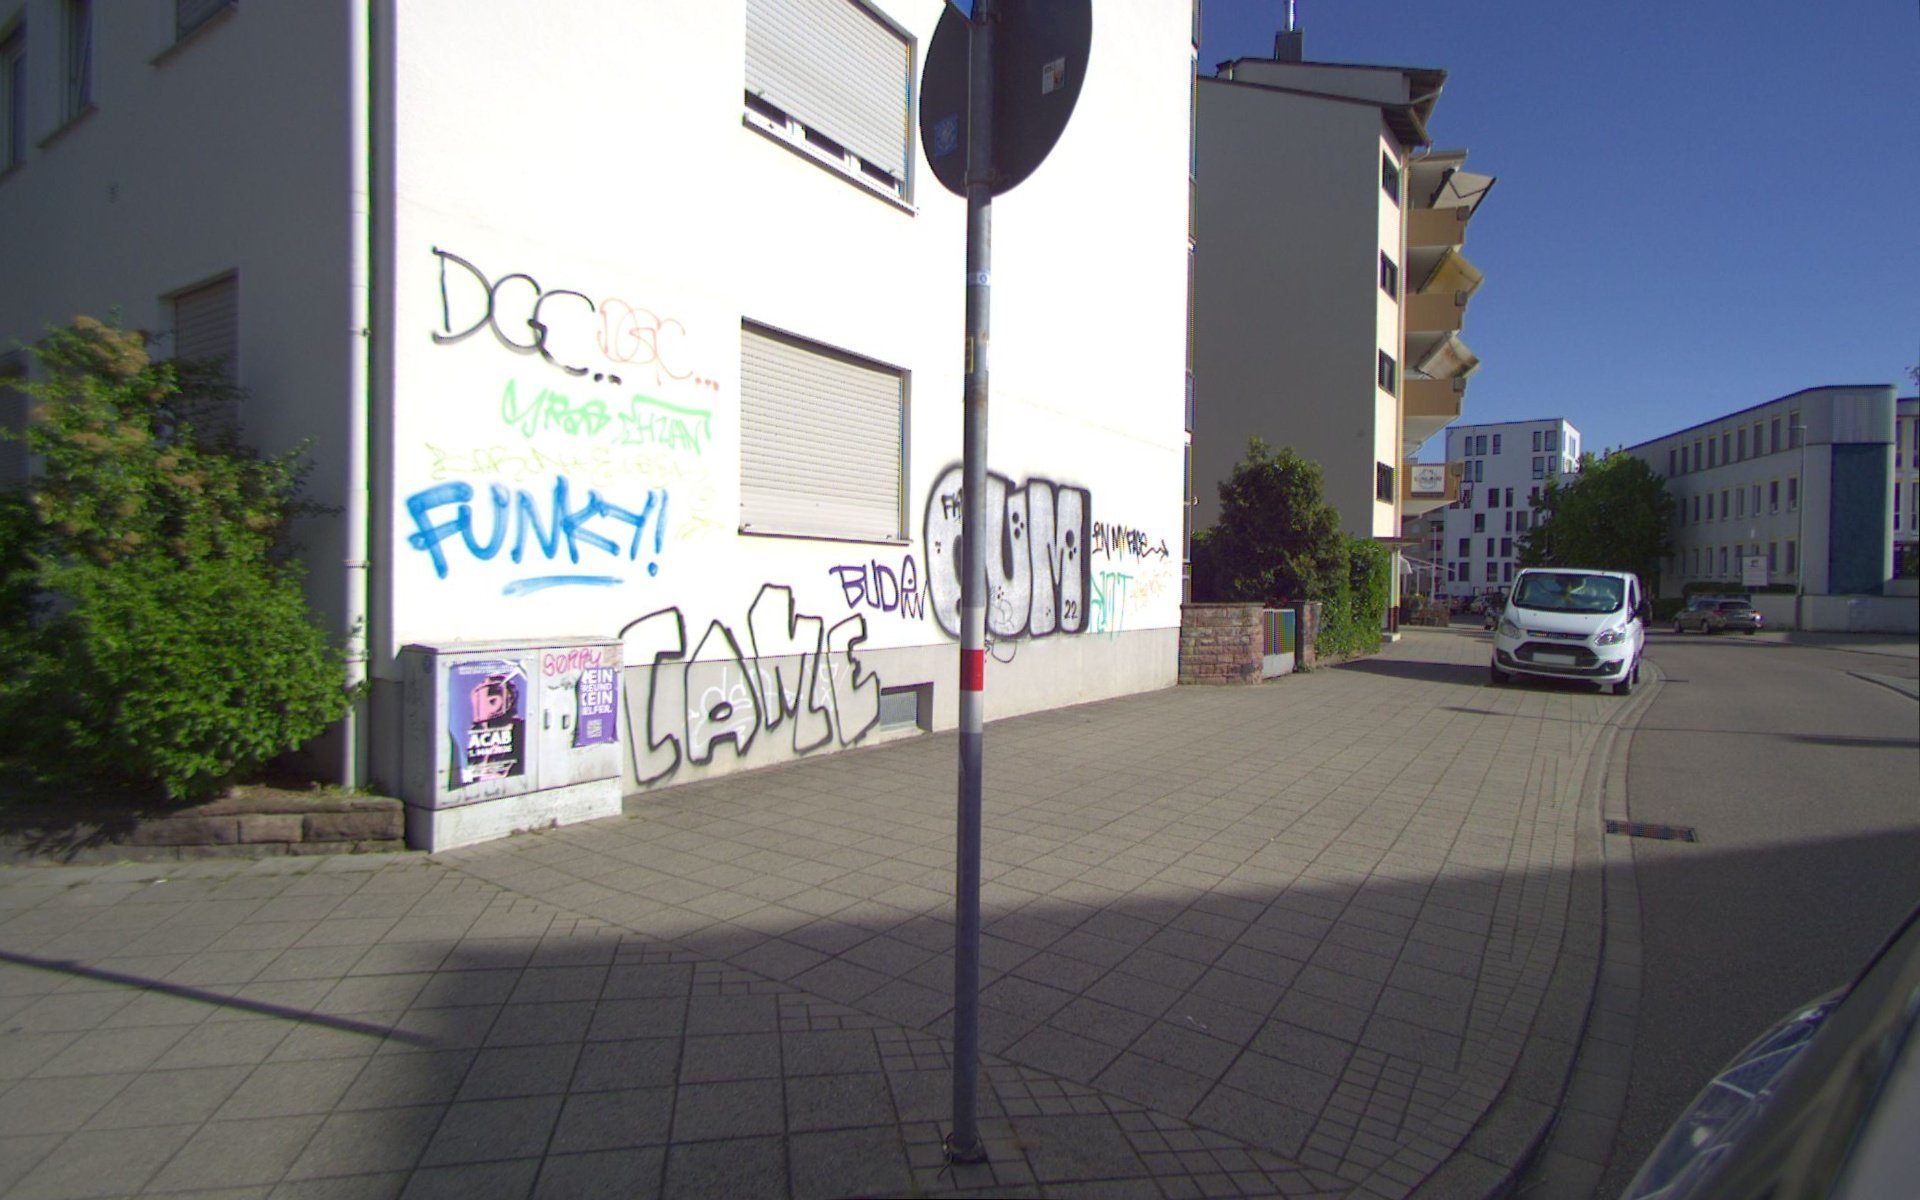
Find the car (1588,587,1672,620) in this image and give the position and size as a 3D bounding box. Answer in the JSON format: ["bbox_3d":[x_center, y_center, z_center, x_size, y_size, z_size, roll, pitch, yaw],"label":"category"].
[{"bbox_3d":[34.673,0.164,52.536,2.108,1.634,4.815,-1,0,14],"label":"car"}]

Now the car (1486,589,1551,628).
[{"bbox_3d":[24.222,0.336,44.046,1.737,1.471,3.975,5,2,20],"label":"car"}]

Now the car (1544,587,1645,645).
[{"bbox_3d":[18.124,0.397,29.079,1.740,1.411,3.969,5,3,23],"label":"car"}]

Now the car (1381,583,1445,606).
[{"bbox_3d":[36.440,-0.444,81.446,4.737,1.758,2.142,-1,0,-27],"label":"car"}]

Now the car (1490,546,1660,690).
[{"bbox_3d":[10.679,0.226,17.394,1.989,2.038,4.734,5,3,36],"label":"car"}]

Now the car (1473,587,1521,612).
[{"bbox_3d":[41.195,-0.061,77.789,2.108,1.833,4.815,-1,0,14],"label":"car"}]

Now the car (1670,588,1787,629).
[{"bbox_3d":[32.344,0.305,42.785,2.107,1.634,4.817,-1,0,13],"label":"car"}]
